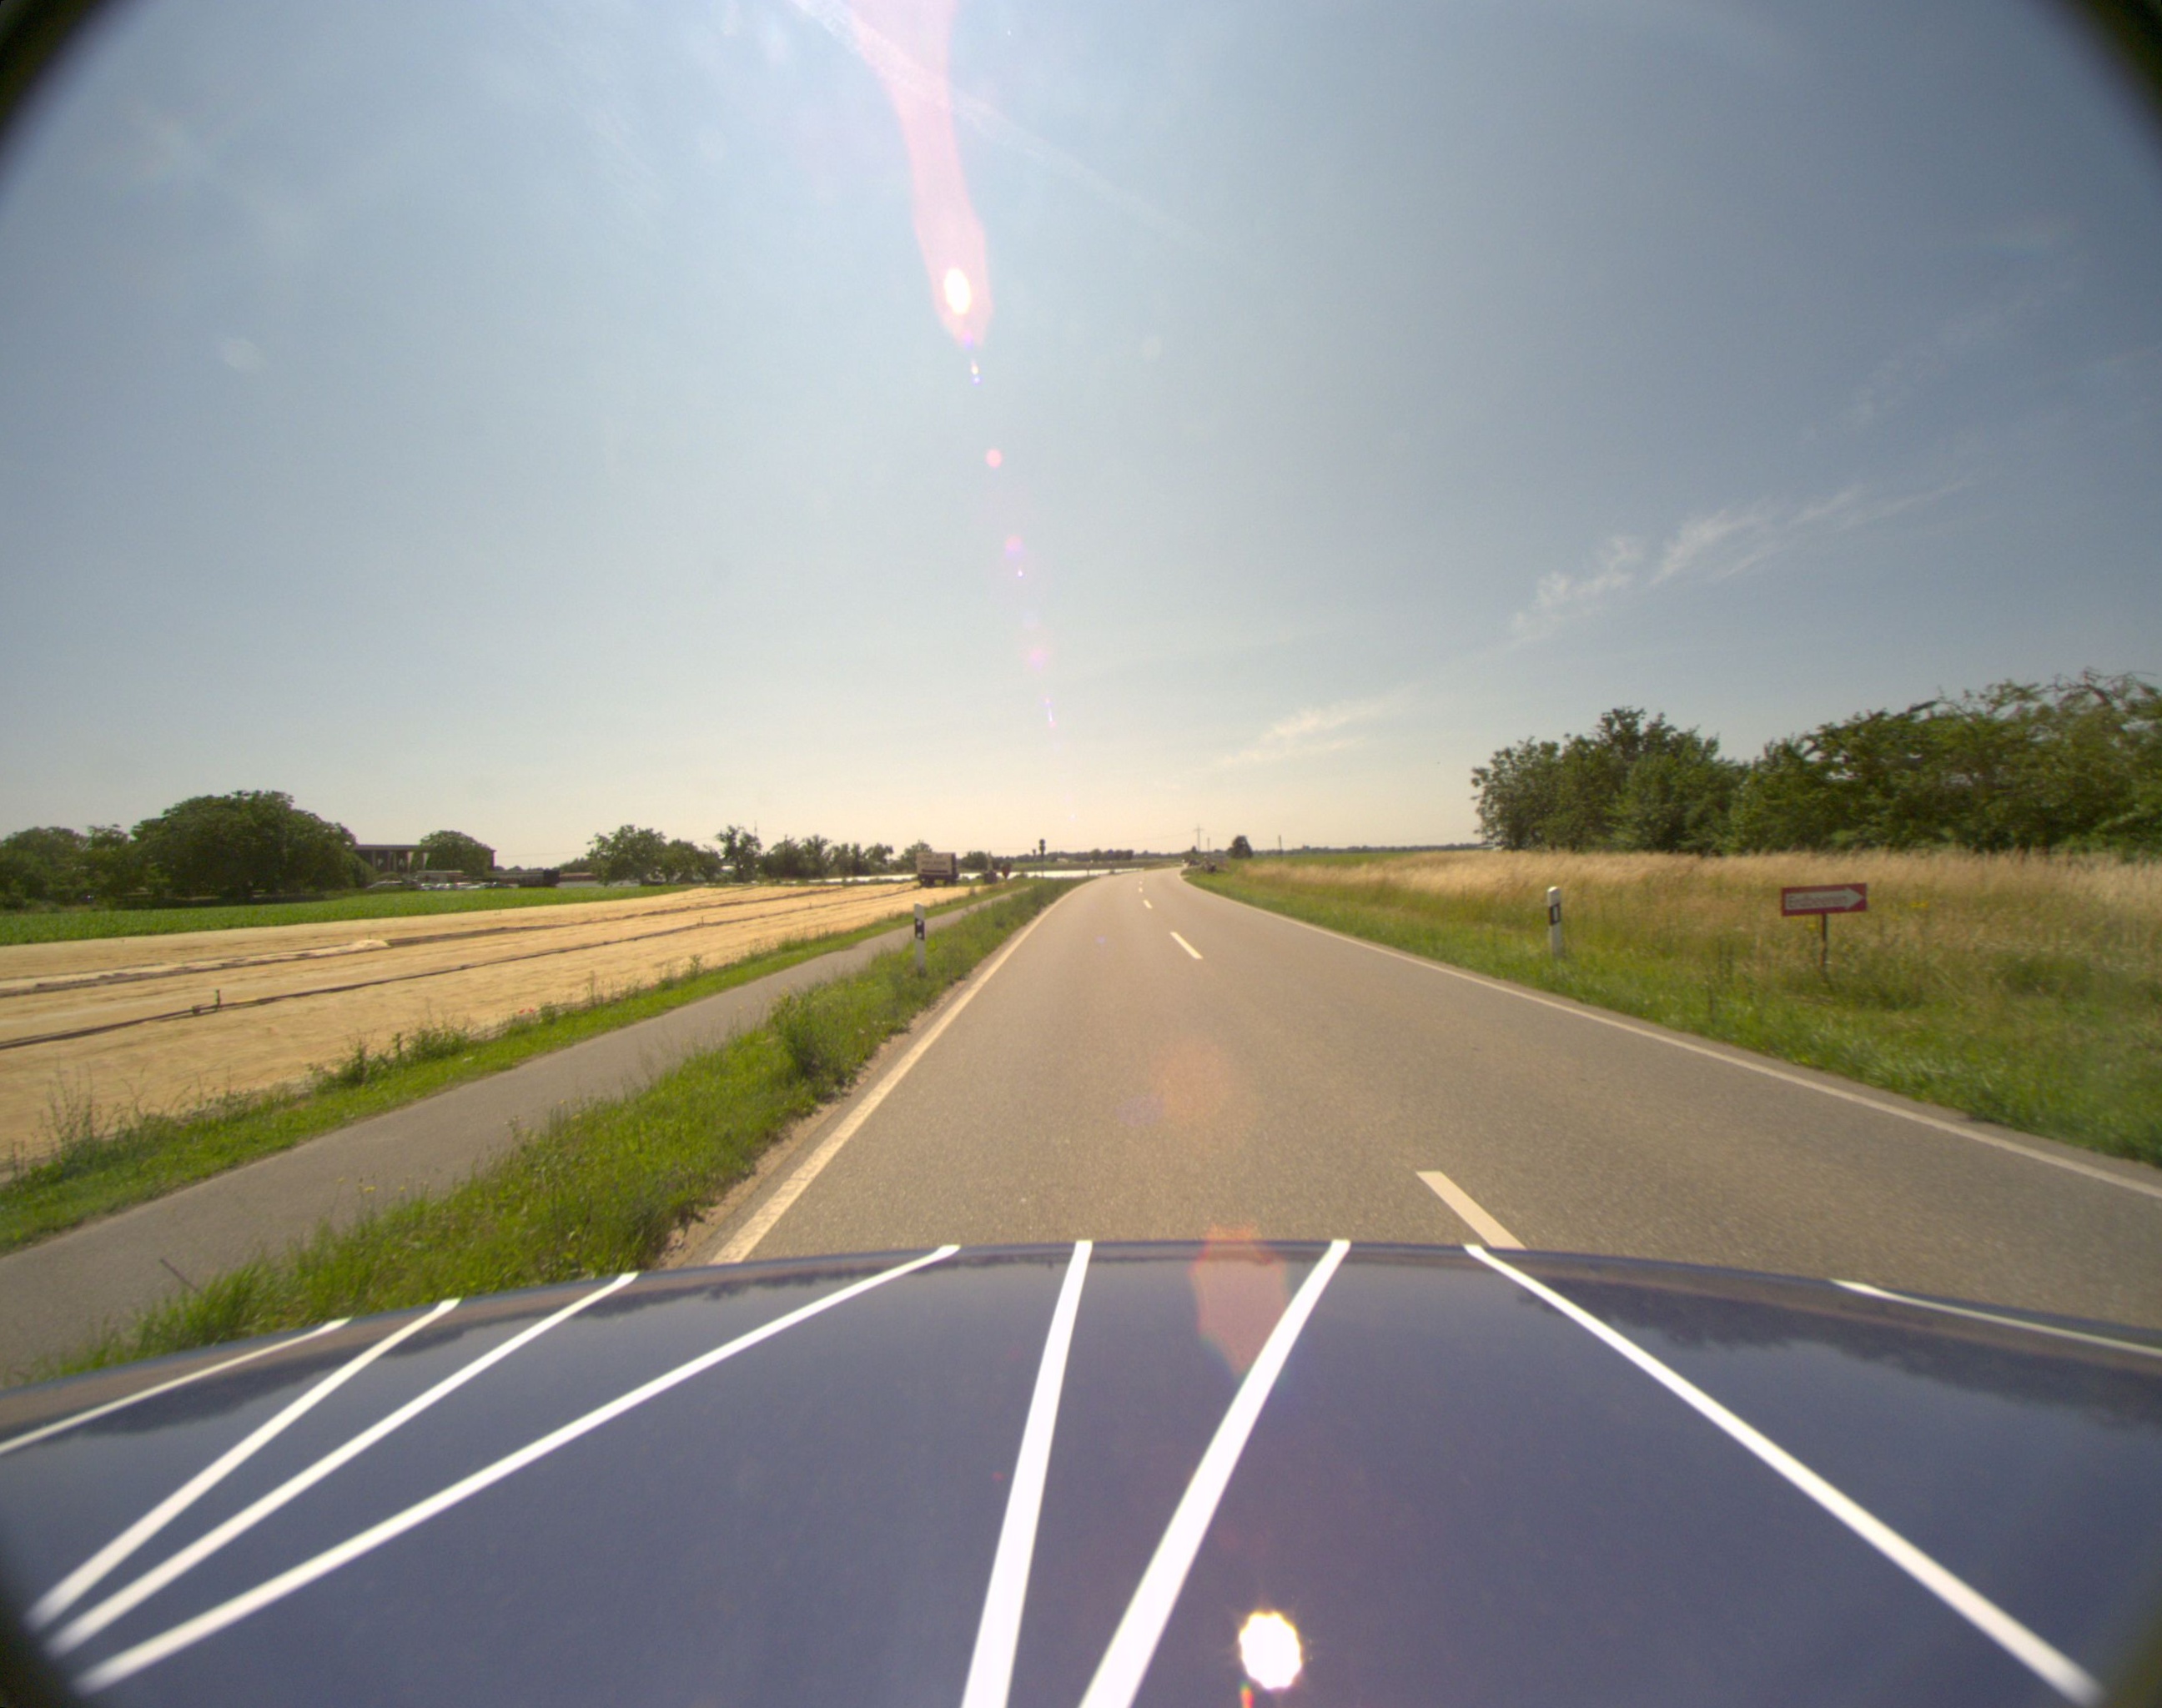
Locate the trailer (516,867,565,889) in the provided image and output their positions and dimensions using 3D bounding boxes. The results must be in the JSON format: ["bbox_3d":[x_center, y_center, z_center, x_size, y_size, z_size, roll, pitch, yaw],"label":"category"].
[{"bbox_3d":[-89.354,4.008,125.592,7.423,3.274,3.264,-3,0,25],"label":"trailer"}]

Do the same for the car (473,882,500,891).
[{"bbox_3d":[-94.787,5.195,121.215,1.294,1.190,3.284,-2,0,16],"label":"car"}]

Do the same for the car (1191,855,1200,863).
[{"bbox_3d":[26.263,1.156,174.502,1.936,1.741,5.208,0,0,10],"label":"car"}]

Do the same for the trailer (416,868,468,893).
[{"bbox_3d":[-115.208,4.806,137.024,7.429,4.197,3.160,-3,1,12],"label":"trailer"}]

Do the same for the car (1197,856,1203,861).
[{"bbox_3d":[33.841,1.236,215.976,1.744,1.349,4.422,-1,0,10],"label":"car"}]

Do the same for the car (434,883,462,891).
[{"bbox_3d":[-103.106,5.362,123.739,1.294,1.190,3.284,-2,0,16],"label":"car"}]

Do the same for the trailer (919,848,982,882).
[{"bbox_3d":[-11.898,1.014,69.312,5.284,2.936,2.002,-1,2,20],"label":"trailer"}]

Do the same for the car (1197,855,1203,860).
[{"bbox_3d":[38.634,1.100,246.775,1.743,1.523,4.145,-1,0,10],"label":"car"}]

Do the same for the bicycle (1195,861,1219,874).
[{"bbox_3d":[10.966,1.163,66.240,1.921,0.986,0.683,-3,0,18],"label":"bicycle"}]

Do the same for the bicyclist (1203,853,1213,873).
[{"bbox_3d":[11.030,0.787,66.211,0.700,1.747,0.663,-2,1,18],"label":"bicyclist"}]

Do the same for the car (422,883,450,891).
[{"bbox_3d":[-105.825,5.417,124.709,1.294,1.190,3.284,-2,0,16],"label":"car"}]

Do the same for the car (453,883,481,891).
[{"bbox_3d":[-97.763,5.254,121.001,1.294,1.190,3.284,-2,0,16],"label":"car"}]
